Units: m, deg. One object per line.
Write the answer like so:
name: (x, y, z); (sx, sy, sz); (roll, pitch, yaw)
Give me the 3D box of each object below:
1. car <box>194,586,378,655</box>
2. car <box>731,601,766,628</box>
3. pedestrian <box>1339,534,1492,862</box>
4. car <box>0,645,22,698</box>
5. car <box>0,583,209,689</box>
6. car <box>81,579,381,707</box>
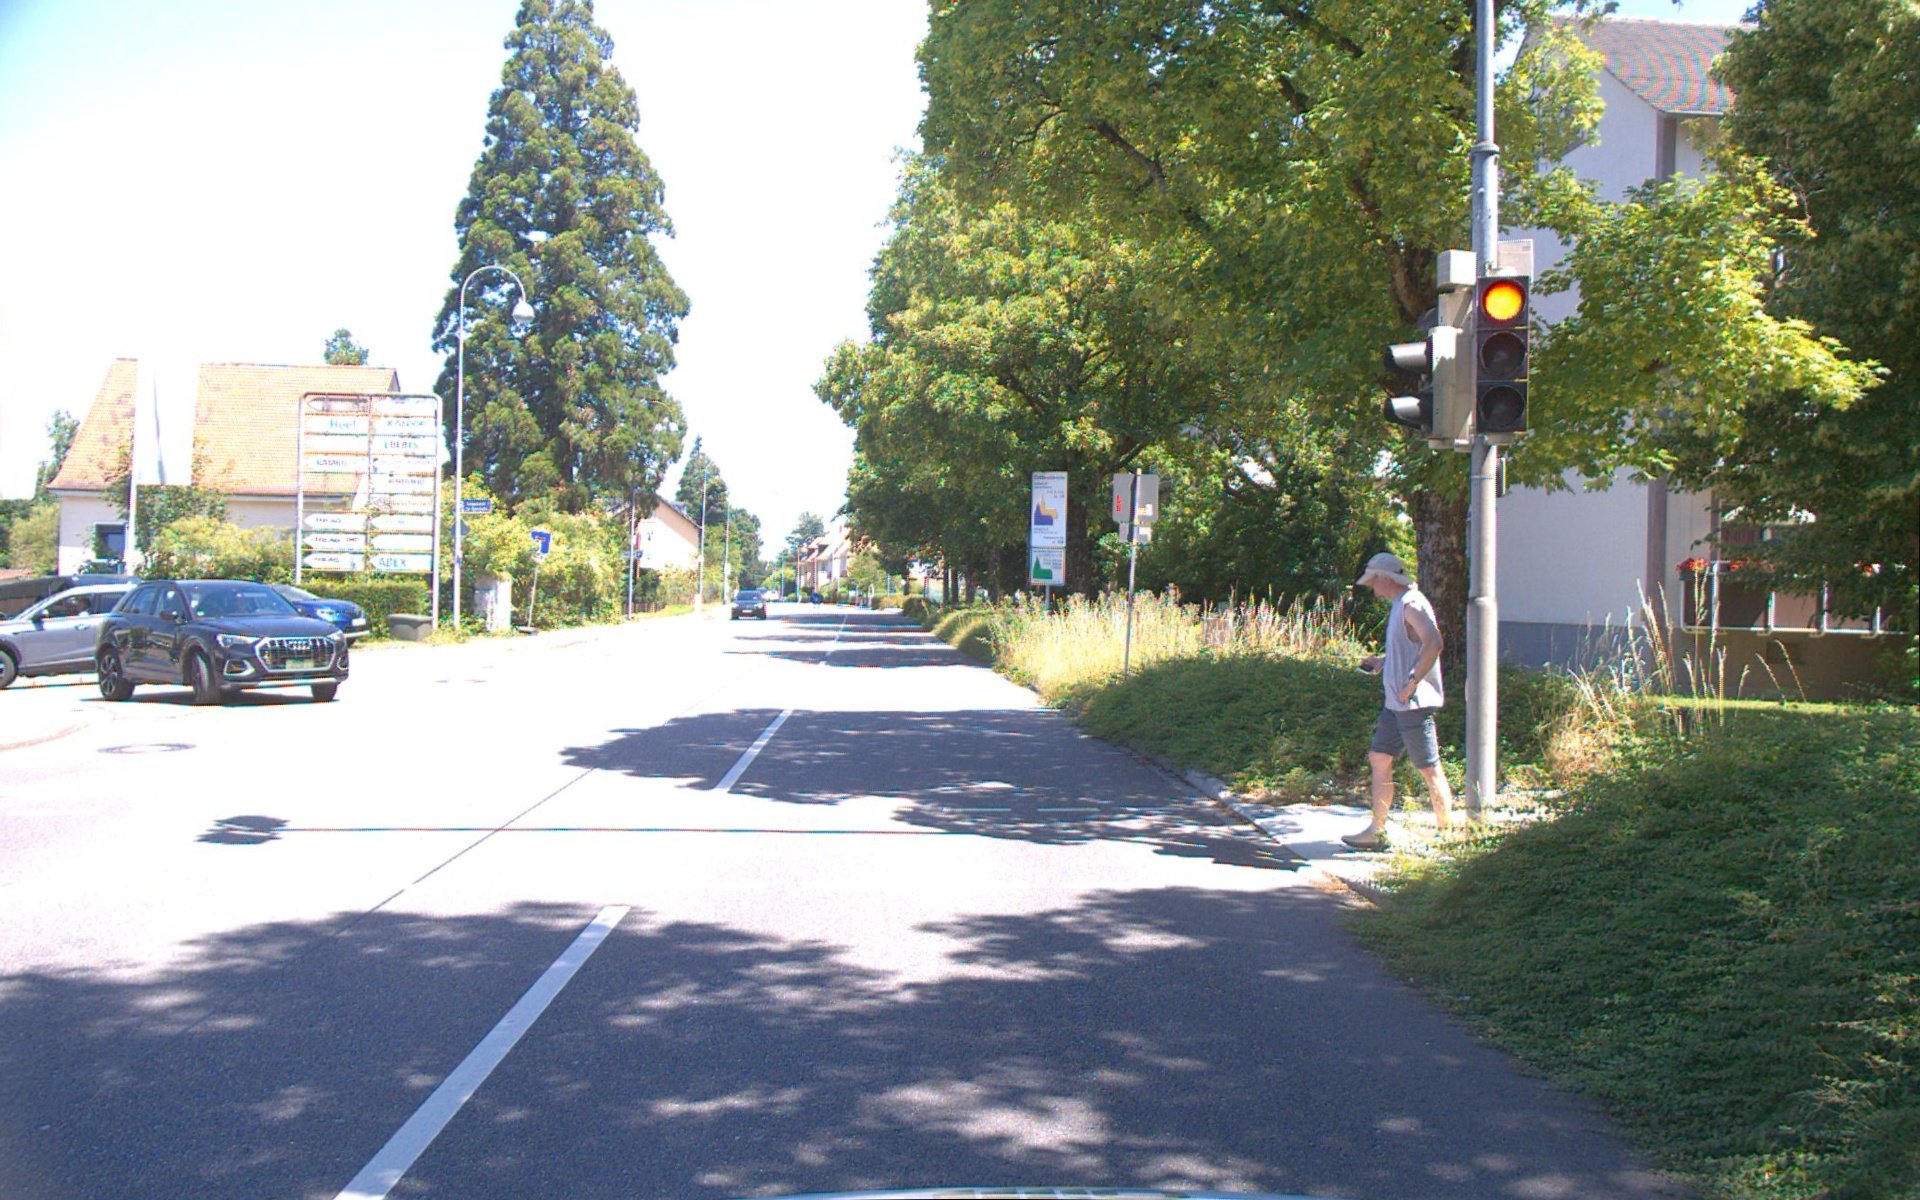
car: (-14.766, 0.429, 36.382); (3.425, 1.452, 1.598); (0, 0, -8)
car: (-11.094, 0.759, 86.927); (1.402, 1.345, 3.354); (1, 0, -1)
pedestrian: (2.587, 0.536, 9.411); (0.555, 1.781, 0.608); (1, -1, -32)
car: (-24.620, 1.789, 40.470); (1.713, 1.247, 3.240); (1, 0, -6)
car: (-15.419, 0.605, 28.674); (4.249, 1.747, 1.867); (1, 0, -30)
car: (-9.790, 0.553, 22.098); (4.223, 1.553, 1.920); (-1, -1, 38)
